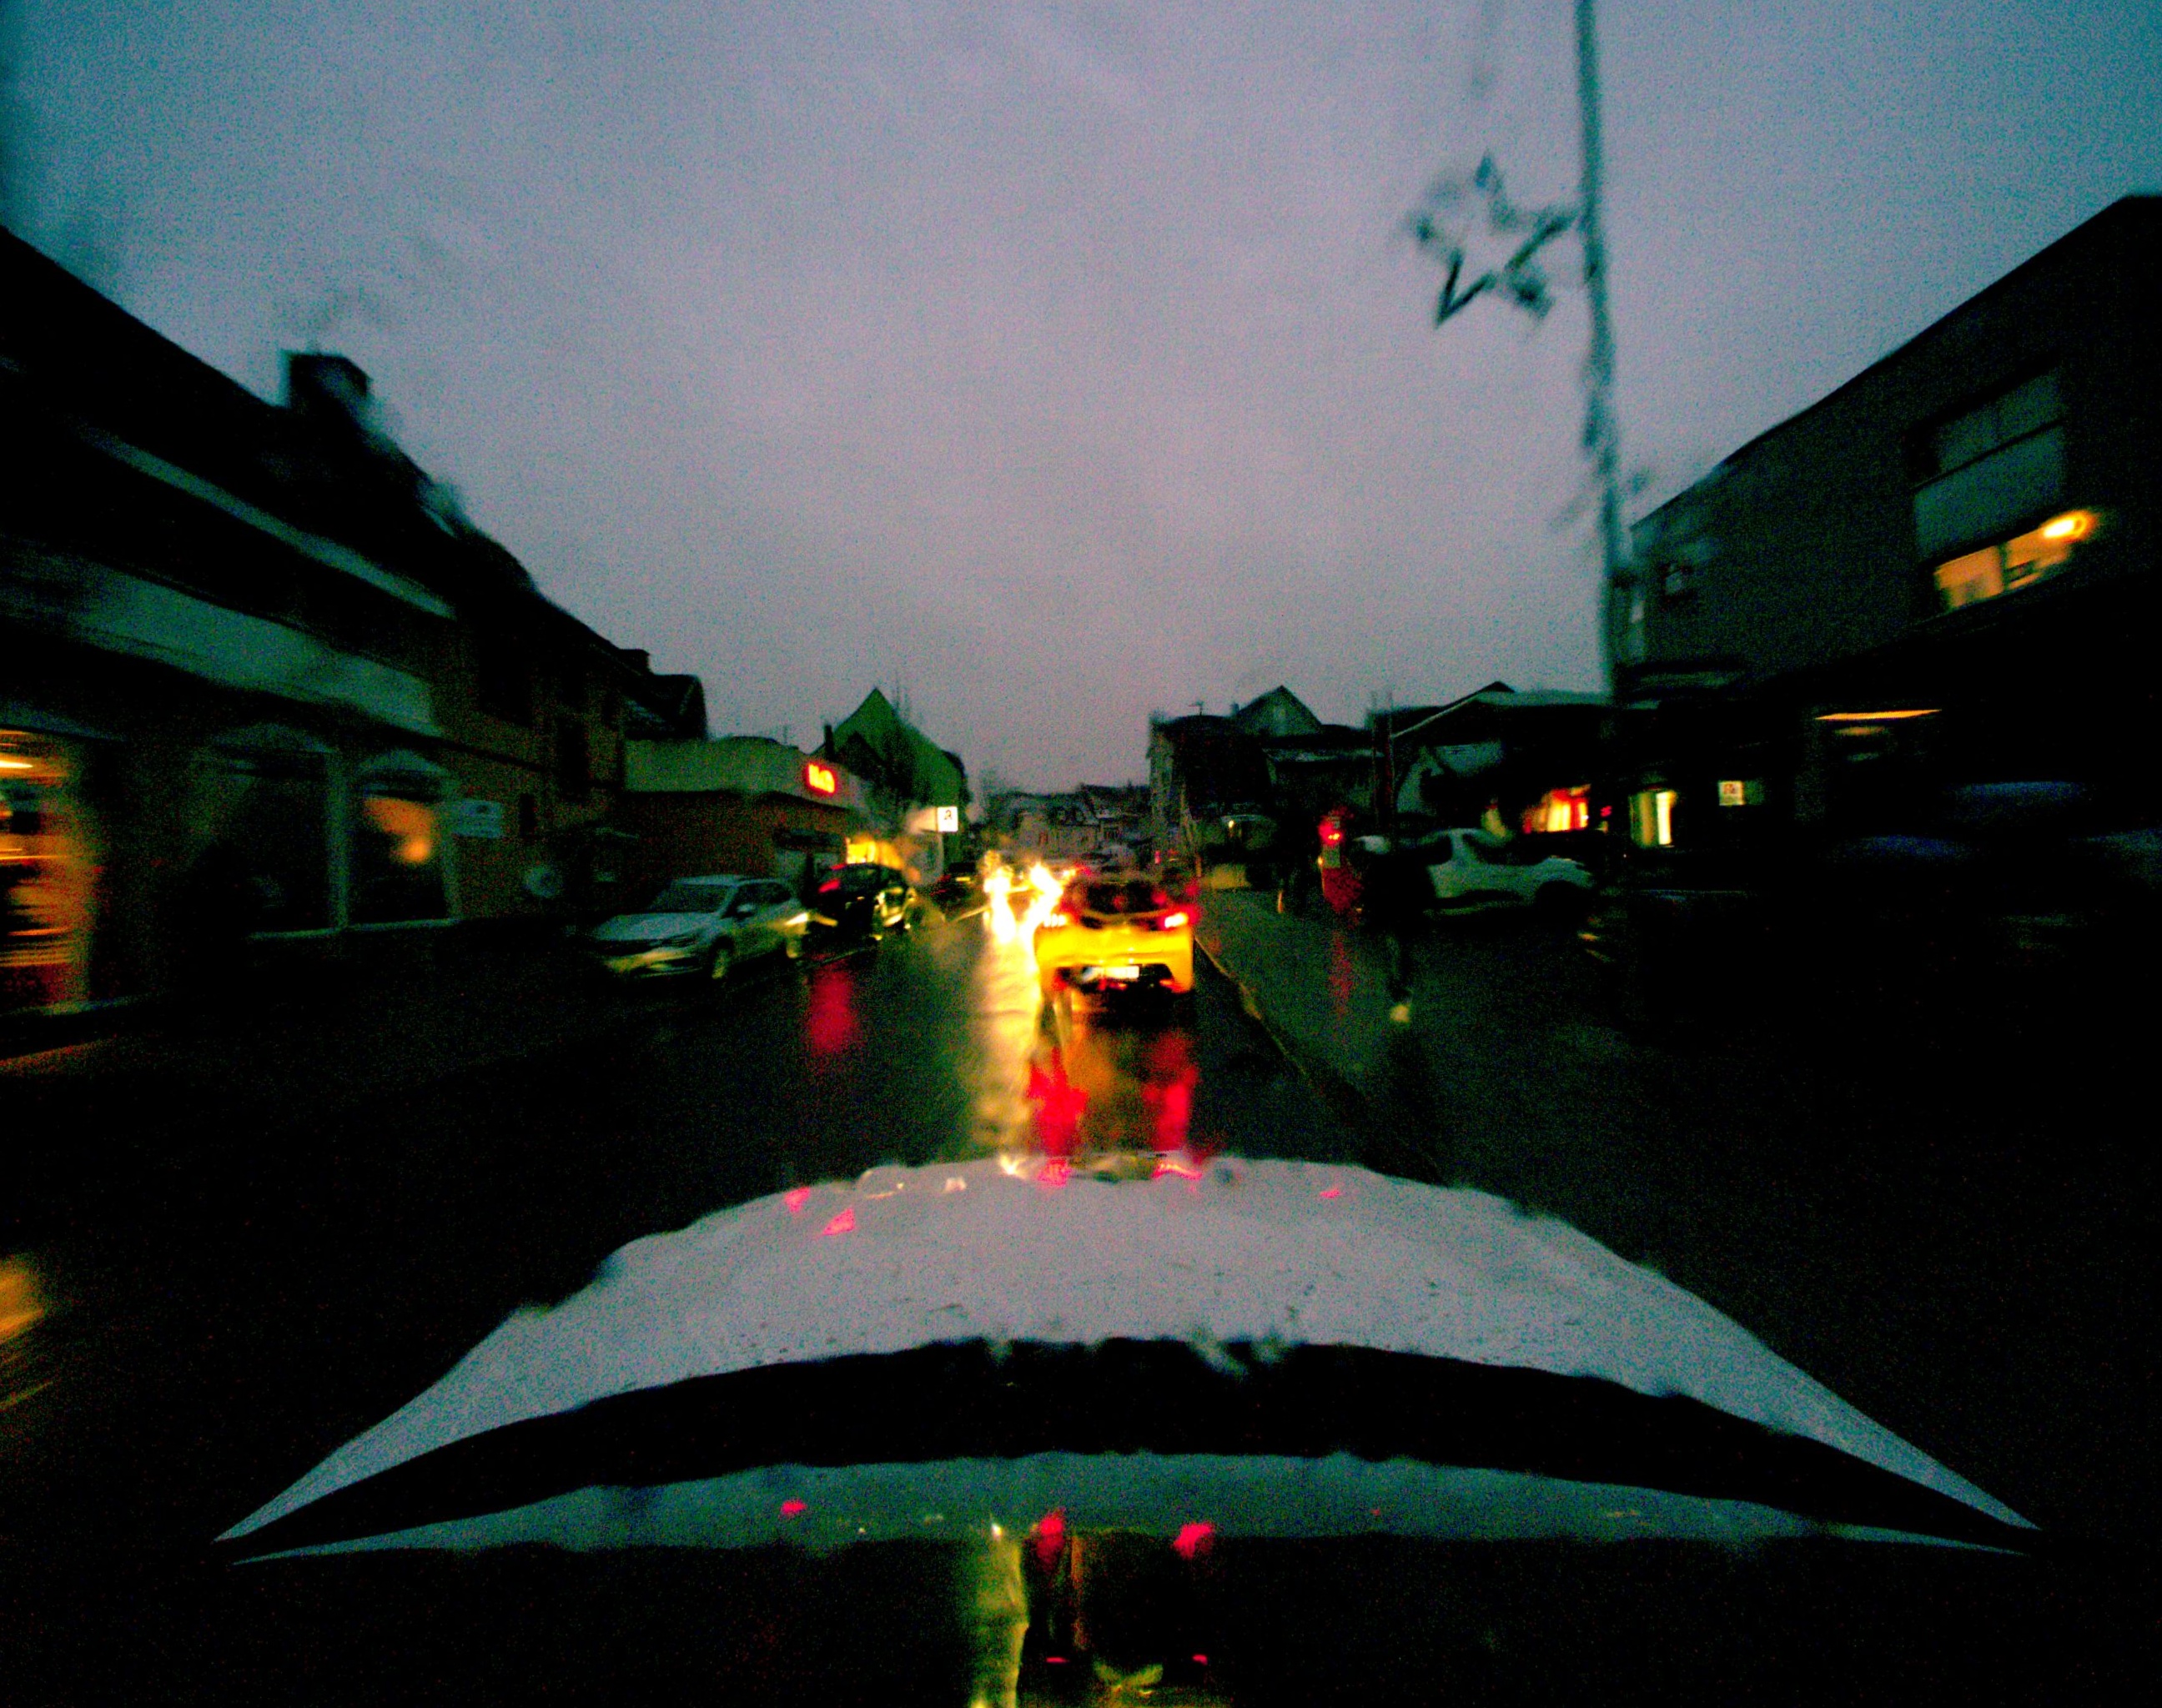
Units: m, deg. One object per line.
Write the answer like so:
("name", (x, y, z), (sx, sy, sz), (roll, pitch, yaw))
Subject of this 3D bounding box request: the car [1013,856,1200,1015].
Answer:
("car", (0.238, 0.817, 9.966), (1.809, 1.533, 3.998), (-1, -1, -1))

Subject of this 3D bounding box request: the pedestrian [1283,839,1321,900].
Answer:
("pedestrian", (6.399, 0.446, 23.638), (0.702, 1.705, 0.913), (-3, -1, -6))

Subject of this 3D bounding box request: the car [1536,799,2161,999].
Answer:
("car", (6.847, 0.405, 7.697), (3.969, 1.486, 1.914), (-3, -2, 4))

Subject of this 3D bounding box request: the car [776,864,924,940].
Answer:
("car", (-5.355, 1.045, 19.662), (1.986, 1.522, 4.979), (-2, -1, 1))

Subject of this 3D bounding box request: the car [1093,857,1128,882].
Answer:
("car", (1.877, 0.997, 53.488), (1.989, 1.588, 3.996), (-1, -1, -3))

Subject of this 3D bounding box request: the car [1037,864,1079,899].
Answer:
("car", (-1.342, 1.475, 45.318), (1.949, 1.546, 4.408), (-3, 2, -5))

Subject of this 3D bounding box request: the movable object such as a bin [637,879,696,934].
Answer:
("movable object such as a bin", (-10.900, 1.359, 21.437), (1.150, 1.354, 0.849), (-1, -1, -9))

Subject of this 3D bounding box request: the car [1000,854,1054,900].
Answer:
("car", (-2.215, 0.907, 34.602), (1.987, 1.705, 4.965), (1, 1, -1))

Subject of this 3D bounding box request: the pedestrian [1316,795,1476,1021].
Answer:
("pedestrian", (2.866, 0.468, 7.525), (0.964, 1.889, 1.005), (-3, -1, -2))

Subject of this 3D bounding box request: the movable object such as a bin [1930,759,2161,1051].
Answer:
("movable object such as a bin", (6.690, 0.249, 5.163), (1.282, 1.644, 1.184), (-4, 0, -2))

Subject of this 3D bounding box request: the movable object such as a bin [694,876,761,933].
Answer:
("movable object such as a bin", (-9.371, 1.319, 21.625), (1.340, 1.354, 0.886), (-5, -1, -9))

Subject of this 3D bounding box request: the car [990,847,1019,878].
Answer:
("car", (-6.773, 0.810, 72.142), (2.482, 2.560, 6.747), (0, -1, -6))

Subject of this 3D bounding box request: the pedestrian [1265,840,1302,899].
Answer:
("pedestrian", (6.130, 0.461, 24.610), (0.834, 1.705, 0.844), (-4, -1, 26))

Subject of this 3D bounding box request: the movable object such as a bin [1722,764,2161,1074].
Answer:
("movable object such as a bin", (5.335, 0.364, 5.204), (1.389, 1.644, 1.261), (-4, 0, -2))

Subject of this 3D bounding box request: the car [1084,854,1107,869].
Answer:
("car", (1.843, 0.997, 104.824), (1.996, 1.610, 4.155), (-4, -1, -13))

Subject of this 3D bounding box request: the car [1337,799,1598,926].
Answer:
("car", (7.268, 0.177, 15.758), (4.066, 2.049, 2.005), (-4, -1, 9))

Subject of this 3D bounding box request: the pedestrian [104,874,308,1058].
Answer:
("pedestrian", (-8.532, 1.035, 8.014), (0.825, 1.658, 1.095), (0, -1, -6))

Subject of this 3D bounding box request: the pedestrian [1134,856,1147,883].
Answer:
("pedestrian", (3.982, 1.041, 54.857), (0.743, 1.729, 0.872), (-2, 0, -2))

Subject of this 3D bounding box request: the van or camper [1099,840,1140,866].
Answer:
("van or camper", (4.931, -0.050, 105.586), (2.661, 3.047, 6.685), (-5, 1, -21))

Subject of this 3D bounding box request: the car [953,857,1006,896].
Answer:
("car", (-4.797, 1.039, 39.030), (1.874, 1.710, 4.712), (-1, -1, 1))

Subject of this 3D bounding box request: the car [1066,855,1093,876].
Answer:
("car", (-0.203, 1.073, 74.036), (1.992, 1.857, 3.990), (-1, -1, -7))

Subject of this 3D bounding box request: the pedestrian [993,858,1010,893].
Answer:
("pedestrian", (-3.652, 0.970, 37.388), (0.570, 1.585, 0.532), (-2, 0, 17))

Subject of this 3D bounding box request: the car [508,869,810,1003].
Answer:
("car", (-5.887, 1.037, 12.176), (1.986, 1.558, 4.622), (-1, 0, 2))

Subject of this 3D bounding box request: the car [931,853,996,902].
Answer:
("car", (-4.641, 0.874, 32.844), (2.081, 1.792, 5.018), (-1, 0, -3))
